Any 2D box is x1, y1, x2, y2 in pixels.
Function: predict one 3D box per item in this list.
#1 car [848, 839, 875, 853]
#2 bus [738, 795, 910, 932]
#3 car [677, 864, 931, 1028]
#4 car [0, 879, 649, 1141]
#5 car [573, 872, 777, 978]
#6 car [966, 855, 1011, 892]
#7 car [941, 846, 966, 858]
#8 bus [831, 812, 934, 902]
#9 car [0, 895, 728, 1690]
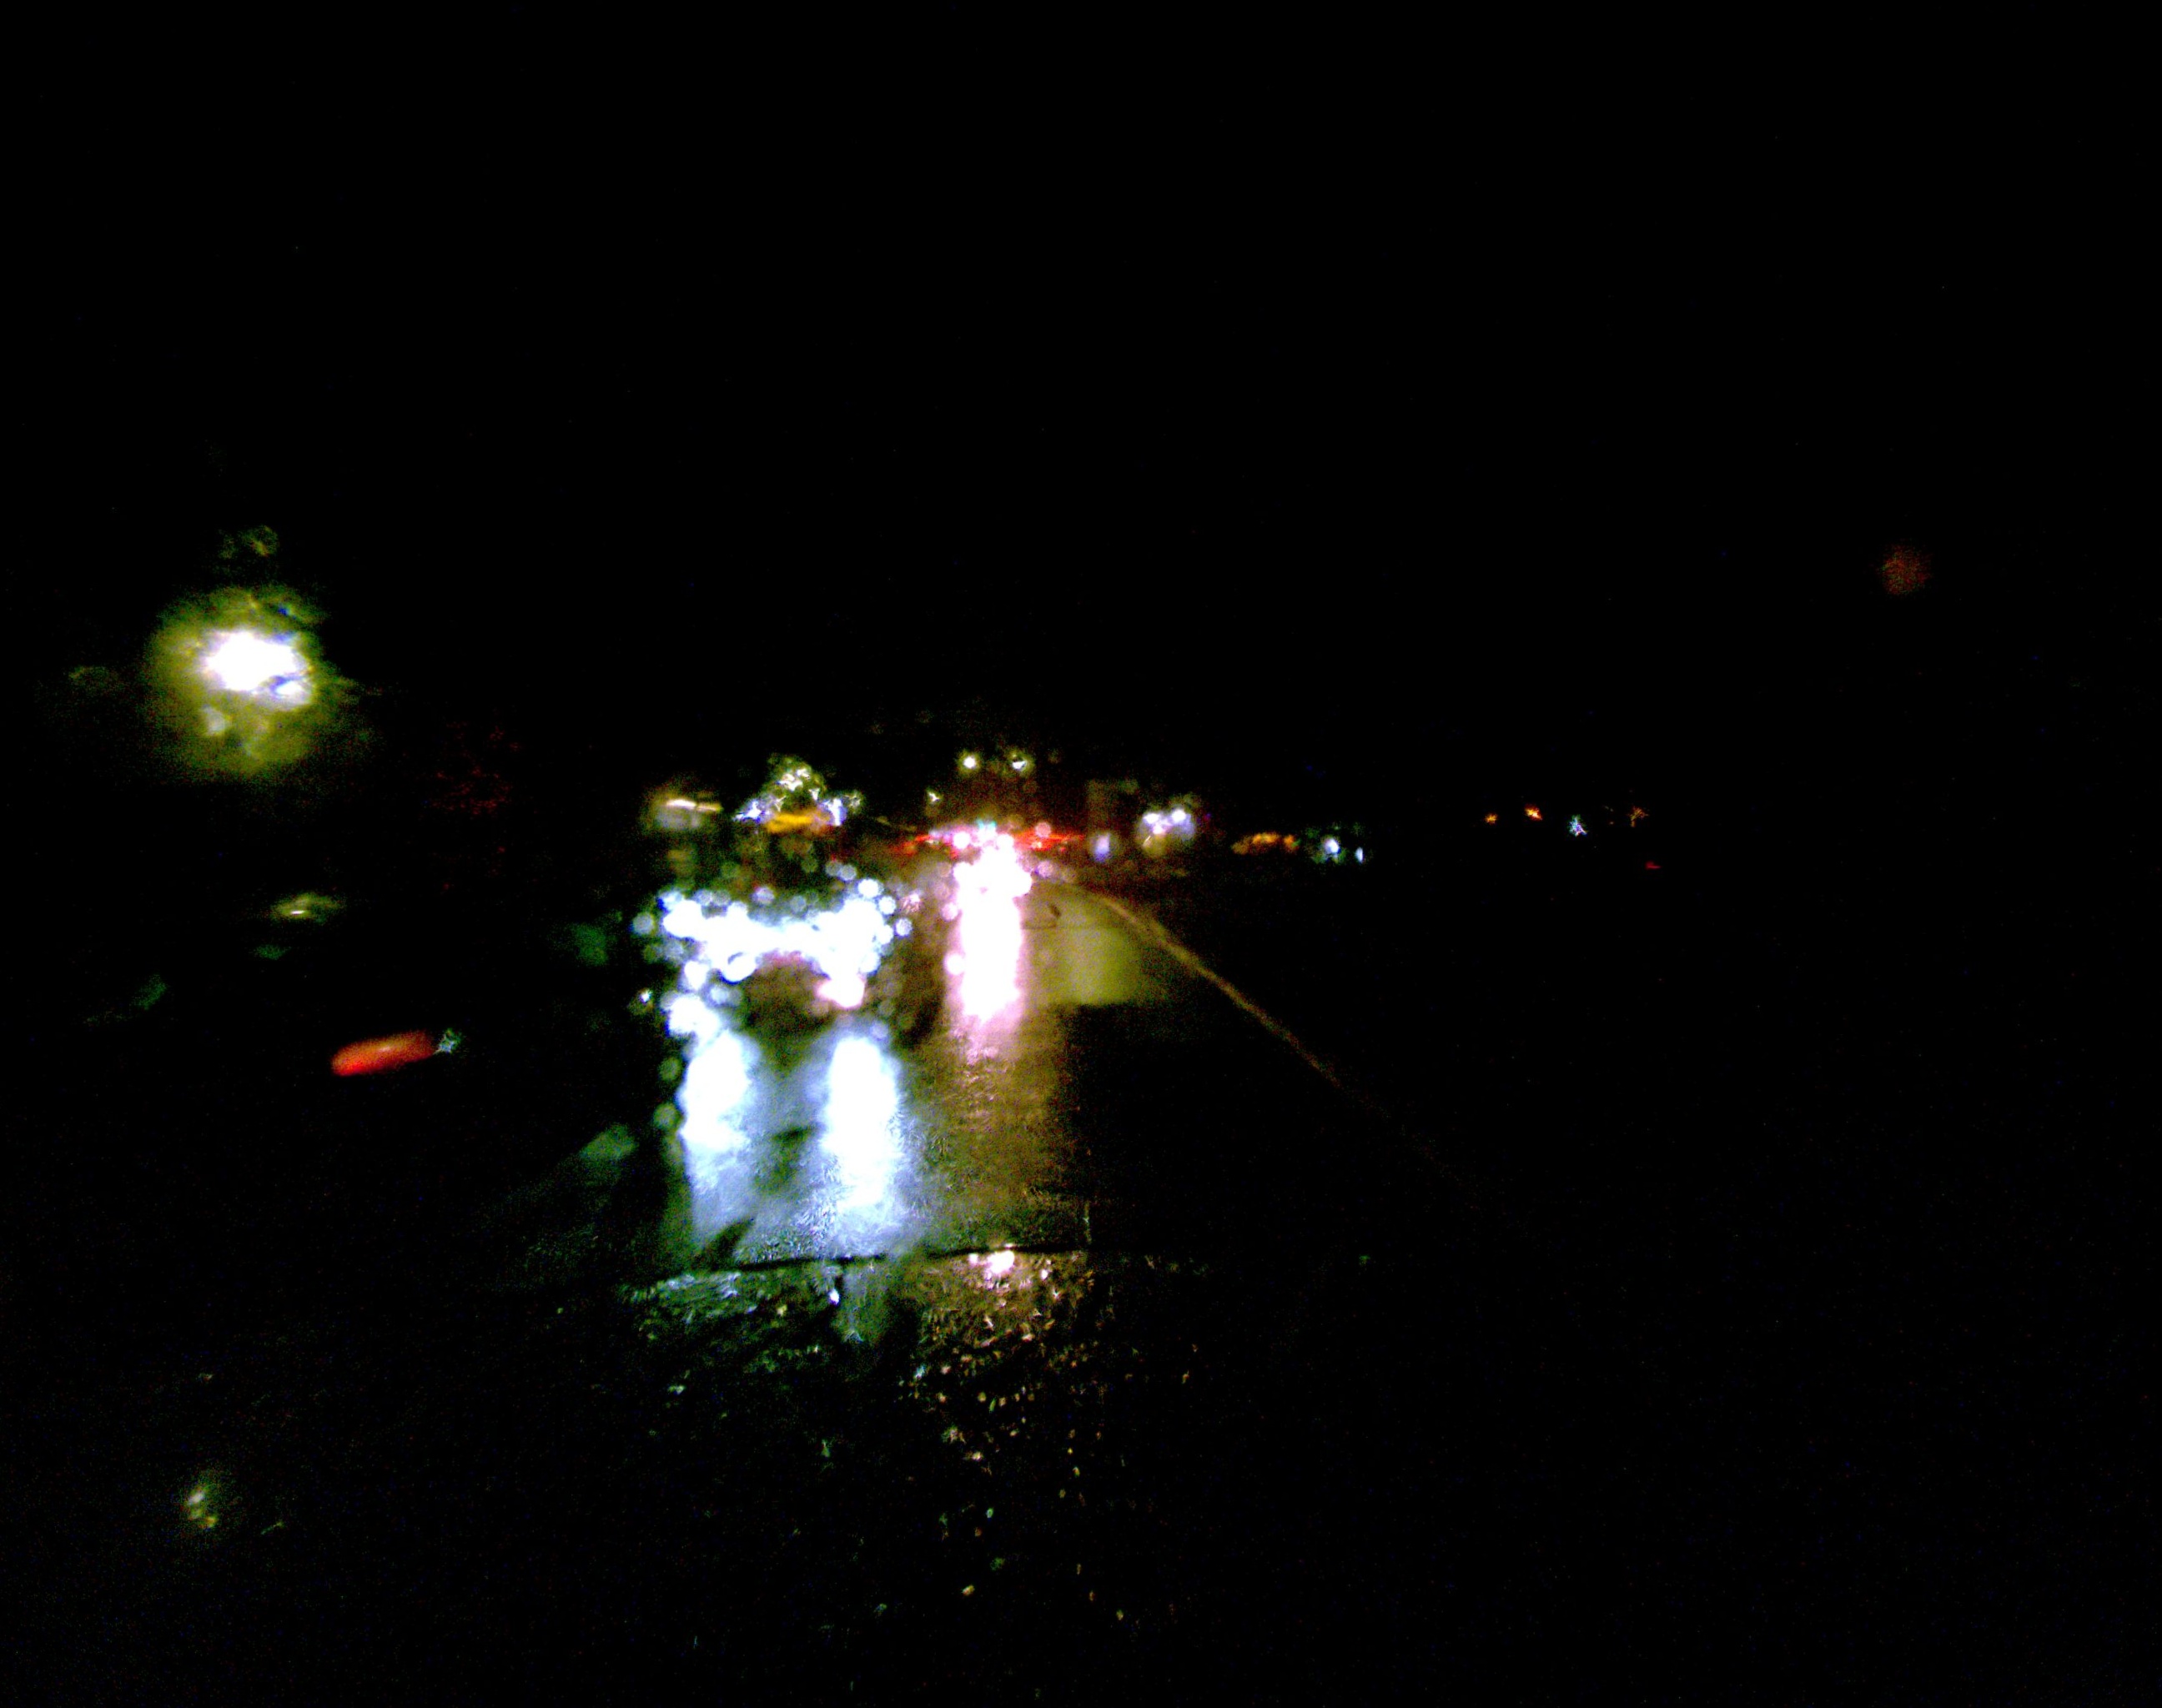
[{"bbox_3d":[-23.715,-0.857,81.965,1.712,1.382,3.990,-2,1,-32],"label":"car"},{"bbox_3d":[-7.341,0.162,23.368,2.742,3.258,9.693,-2,1,-6],"label":"bus"},{"bbox_3d":[-3.296,0.992,10.011,1.724,1.478,4.161,-5,1,0],"label":"car"},{"bbox_3d":[-6.413,1.099,7.347,1.724,1.478,4.786,-1,1,0],"label":"car"},{"bbox_3d":[-7.117,1.147,13.860,1.725,1.478,4.160,0,1,-4],"label":"car"},{"bbox_3d":[-3.897,0.773,31.964,1.756,1.438,3.970,0,1,-7],"label":"car"},{"bbox_3d":[-16.860,-0.282,100.130,1.604,1.528,4.300,-3,1,-34],"label":"car"},{"bbox_3d":[-8.271,0.049,32.996,2.742,3.219,9.693,-2,1,-6],"label":"bus"},{"bbox_3d":[-3.134,1.025,2.785,1.724,1.438,4.161,-1,1,0],"label":"car"}]
